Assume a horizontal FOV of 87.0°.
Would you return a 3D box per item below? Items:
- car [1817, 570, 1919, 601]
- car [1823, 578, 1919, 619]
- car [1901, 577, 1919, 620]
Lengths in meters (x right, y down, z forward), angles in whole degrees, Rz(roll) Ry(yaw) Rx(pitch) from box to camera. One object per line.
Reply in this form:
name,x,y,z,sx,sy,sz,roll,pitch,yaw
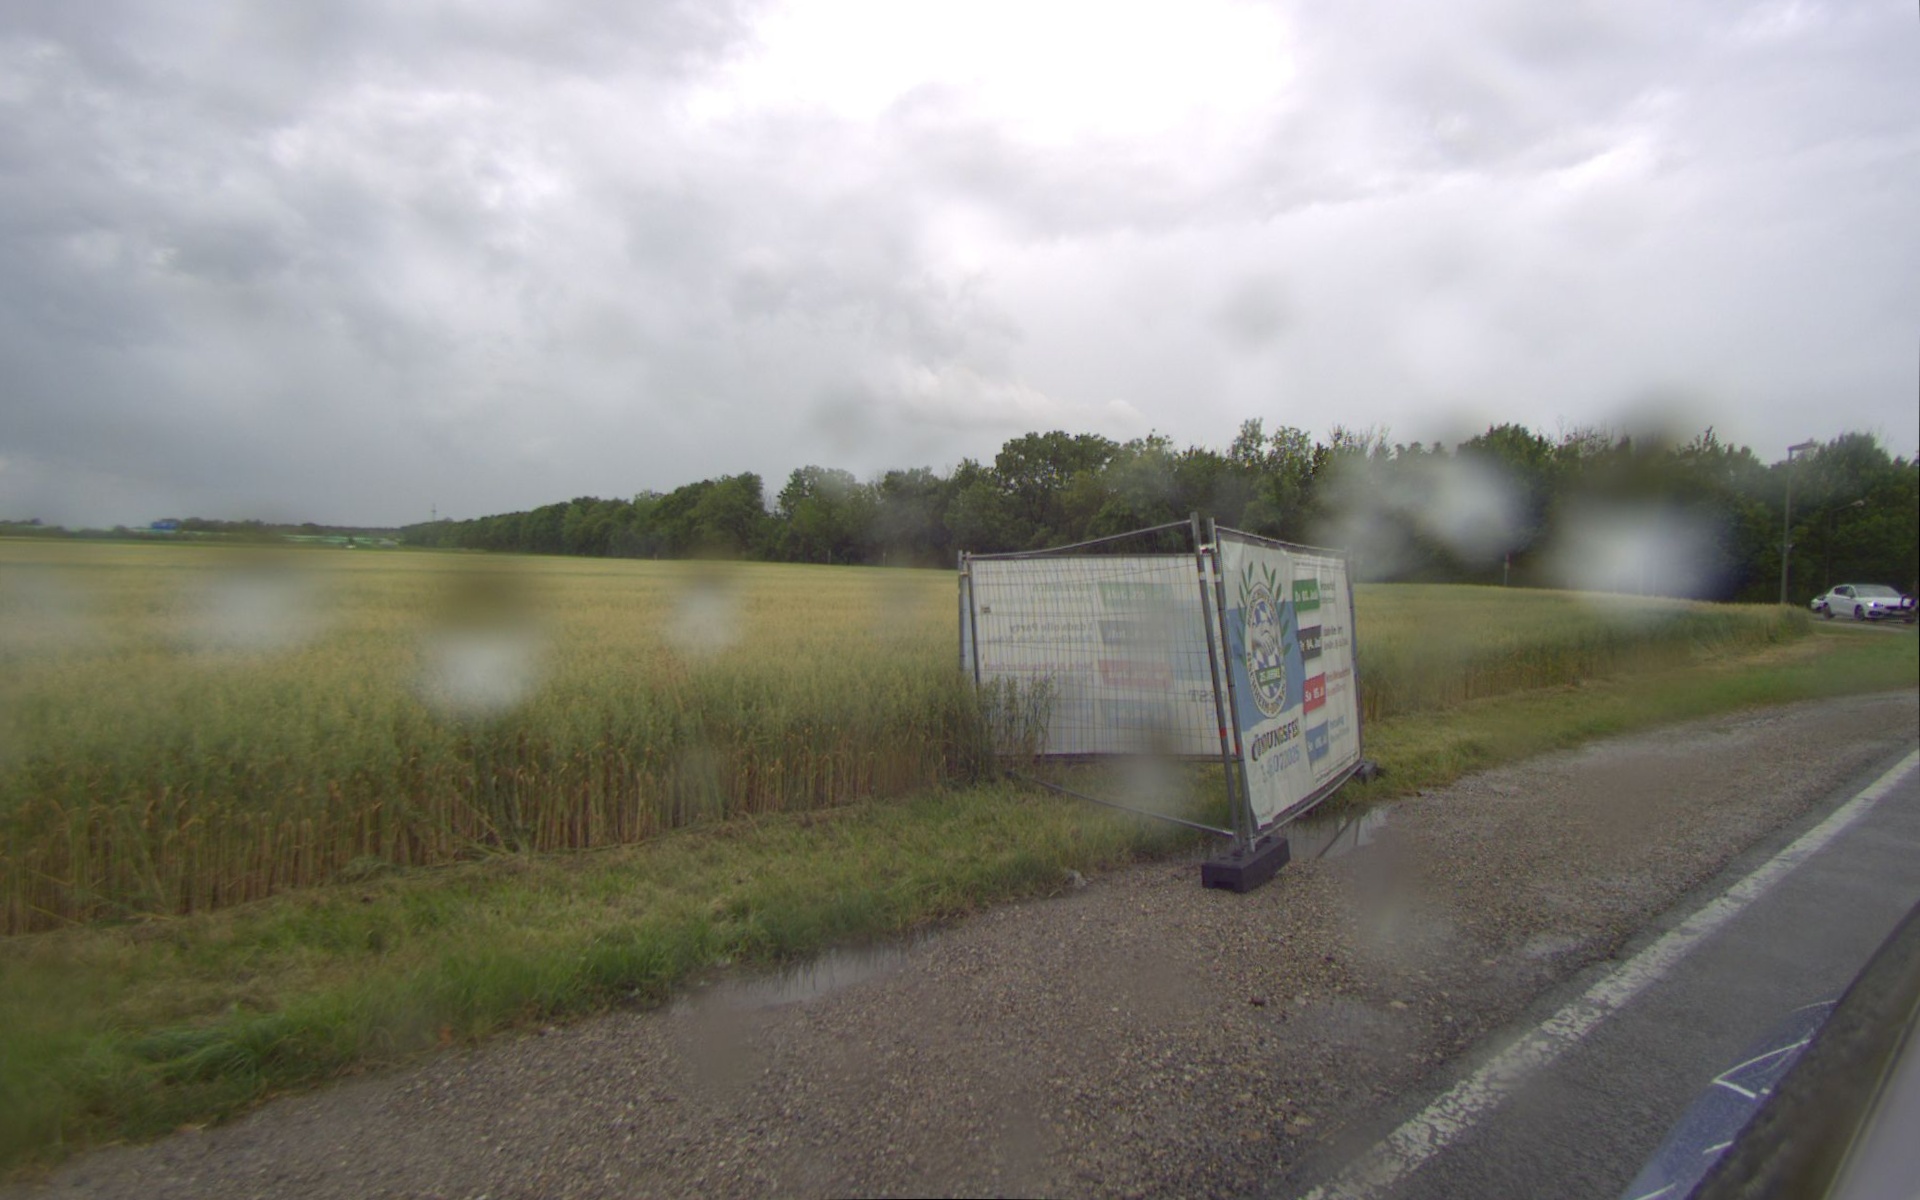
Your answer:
car,47.084,-0.735,51.918,4.421,1.550,1.891,1,1,4
car,36.590,-0.099,40.208,1.868,1.550,4.476,1,1,18
car,34.761,-0.019,34.470,1.868,1.550,5.226,1,1,18
